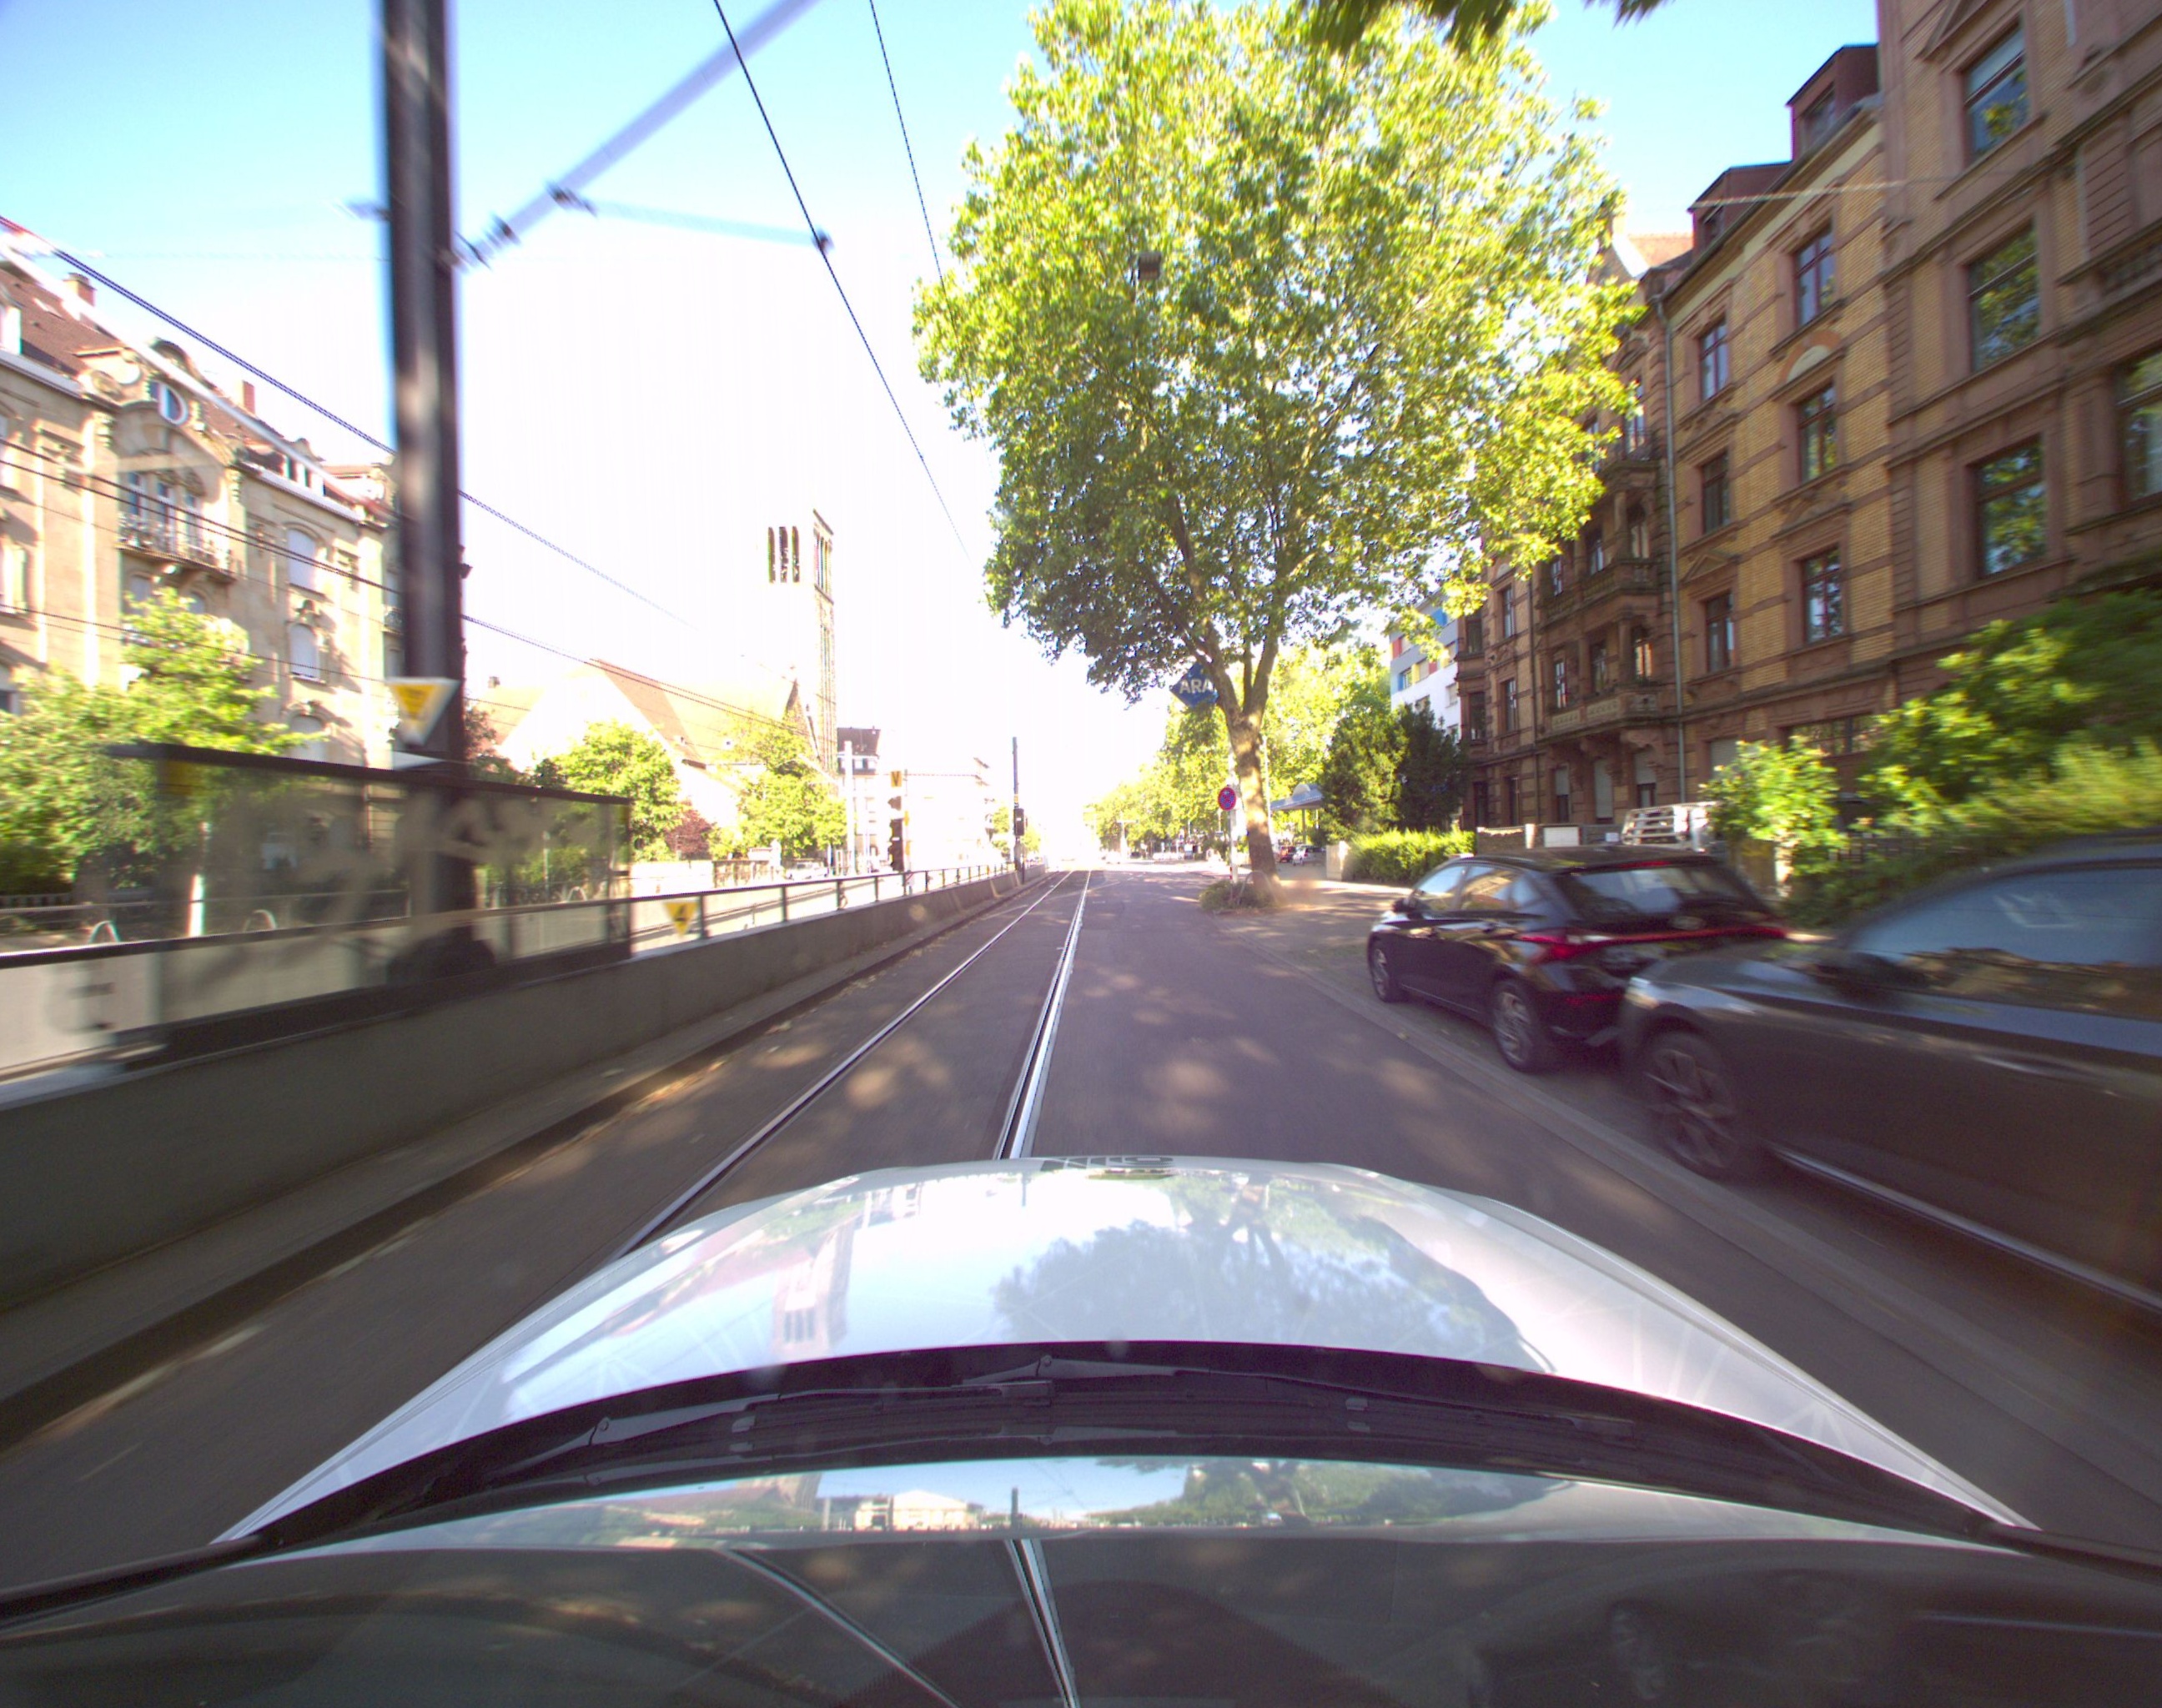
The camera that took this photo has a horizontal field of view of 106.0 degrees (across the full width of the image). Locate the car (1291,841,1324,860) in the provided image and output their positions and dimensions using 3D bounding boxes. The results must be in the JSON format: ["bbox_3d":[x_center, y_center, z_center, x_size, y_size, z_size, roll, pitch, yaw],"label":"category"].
[{"bbox_3d":[21.480,-0.371,77.432,1.853,1.735,4.800,-2,1,1],"label":"car"}]

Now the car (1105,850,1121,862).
[{"bbox_3d":[3.938,0.244,100.407,1.739,1.462,3.644,1,0,0],"label":"car"}]

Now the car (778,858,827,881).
[{"bbox_3d":[-19.920,1.086,58.476,1.709,1.555,4.513,1,0,3],"label":"car"}]

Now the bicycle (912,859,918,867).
[{"bbox_3d":[-26.363,1.414,129.239,0.821,1.282,2.558,1,0,-7],"label":"bicycle"}]

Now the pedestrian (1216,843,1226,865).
[{"bbox_3d":[11.361,0.005,66.080,0.600,1.776,0.691,-5,0,5],"label":"pedestrian"}]

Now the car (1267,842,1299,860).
[{"bbox_3d":[19.370,-0.295,78.192,1.812,1.602,4.659,-2,1,-2],"label":"car"}]

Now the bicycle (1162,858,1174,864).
[{"bbox_3d":[14.120,1.130,131.944,1.199,0.934,2.565,1,0,-11],"label":"bicycle"}]

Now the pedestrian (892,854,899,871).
[{"bbox_3d":[-21.828,0.995,95.903,0.602,1.887,0.757,1,0,3],"label":"pedestrian"}]

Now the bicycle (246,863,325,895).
[{"bbox_3d":[-27.187,0.831,27.880,0.502,1.018,2.115,1,0,5],"label":"bicycle"}]

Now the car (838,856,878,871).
[{"bbox_3d":[-25.185,1.075,92.023,3.970,1.629,1.896,1,0,3],"label":"car"}]

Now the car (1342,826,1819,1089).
[{"bbox_3d":[3.648,0.618,6.915,1.546,1.499,4.050,-3,0,1],"label":"car"}]

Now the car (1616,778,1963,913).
[{"bbox_3d":[12.672,-0.148,14.805,4.557,2.013,1.914,-4,0,0],"label":"car"}]

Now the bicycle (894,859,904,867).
[{"bbox_3d":[-28.650,1.394,127.989,0.826,1.282,2.540,1,0,-30],"label":"bicycle"}]

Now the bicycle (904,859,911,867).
[{"bbox_3d":[-27.315,1.408,128.312,0.823,1.282,2.549,1,0,-18],"label":"bicycle"}]

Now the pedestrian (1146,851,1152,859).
[{"bbox_3d":[12.501,0.214,149.519,0.653,1.388,0.837,1,0,33],"label":"pedestrian"}]

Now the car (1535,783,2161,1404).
[{"bbox_3d":[3.537,0.575,2.657,1.611,1.587,4.417,-3,0,0],"label":"car"}]

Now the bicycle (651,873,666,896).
[{"bbox_3d":[-20.217,1.461,39.010,0.487,1.022,1.879,1,0,-23],"label":"bicycle"}]

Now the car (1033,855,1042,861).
[{"bbox_3d":[-11.730,1.123,218.658,1.986,1.449,4.842,-3,0,1],"label":"car"}]

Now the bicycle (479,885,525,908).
[{"bbox_3d":[-23.583,1.725,33.222,0.414,0.800,1.889,1,0,4],"label":"bicycle"}]

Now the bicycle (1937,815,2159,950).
[{"bbox_3d":[9.938,0.263,8.468,0.336,1.250,1.769,1,0,5],"label":"bicycle"}]

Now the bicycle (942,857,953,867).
[{"bbox_3d":[-17.210,0.996,104.931,0.628,1.144,2.284,-4,0,8],"label":"bicycle"}]

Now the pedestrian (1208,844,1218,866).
[{"bbox_3d":[10.762,0.086,66.222,0.600,1.776,0.880,-5,0,5],"label":"pedestrian"}]

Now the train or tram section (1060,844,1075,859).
[{"bbox_3d":[-3.076,-0.557,184.292,2.941,3.410,10.794,1,0,2],"label":"train or tram section"}]

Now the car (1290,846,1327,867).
[{"bbox_3d":[16.879,0.165,60.586,1.562,1.430,4.098,-2,0,0],"label":"car"}]

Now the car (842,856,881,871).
[{"bbox_3d":[-25.561,1.083,94.921,3.970,1.756,1.896,1,0,3],"label":"car"}]
